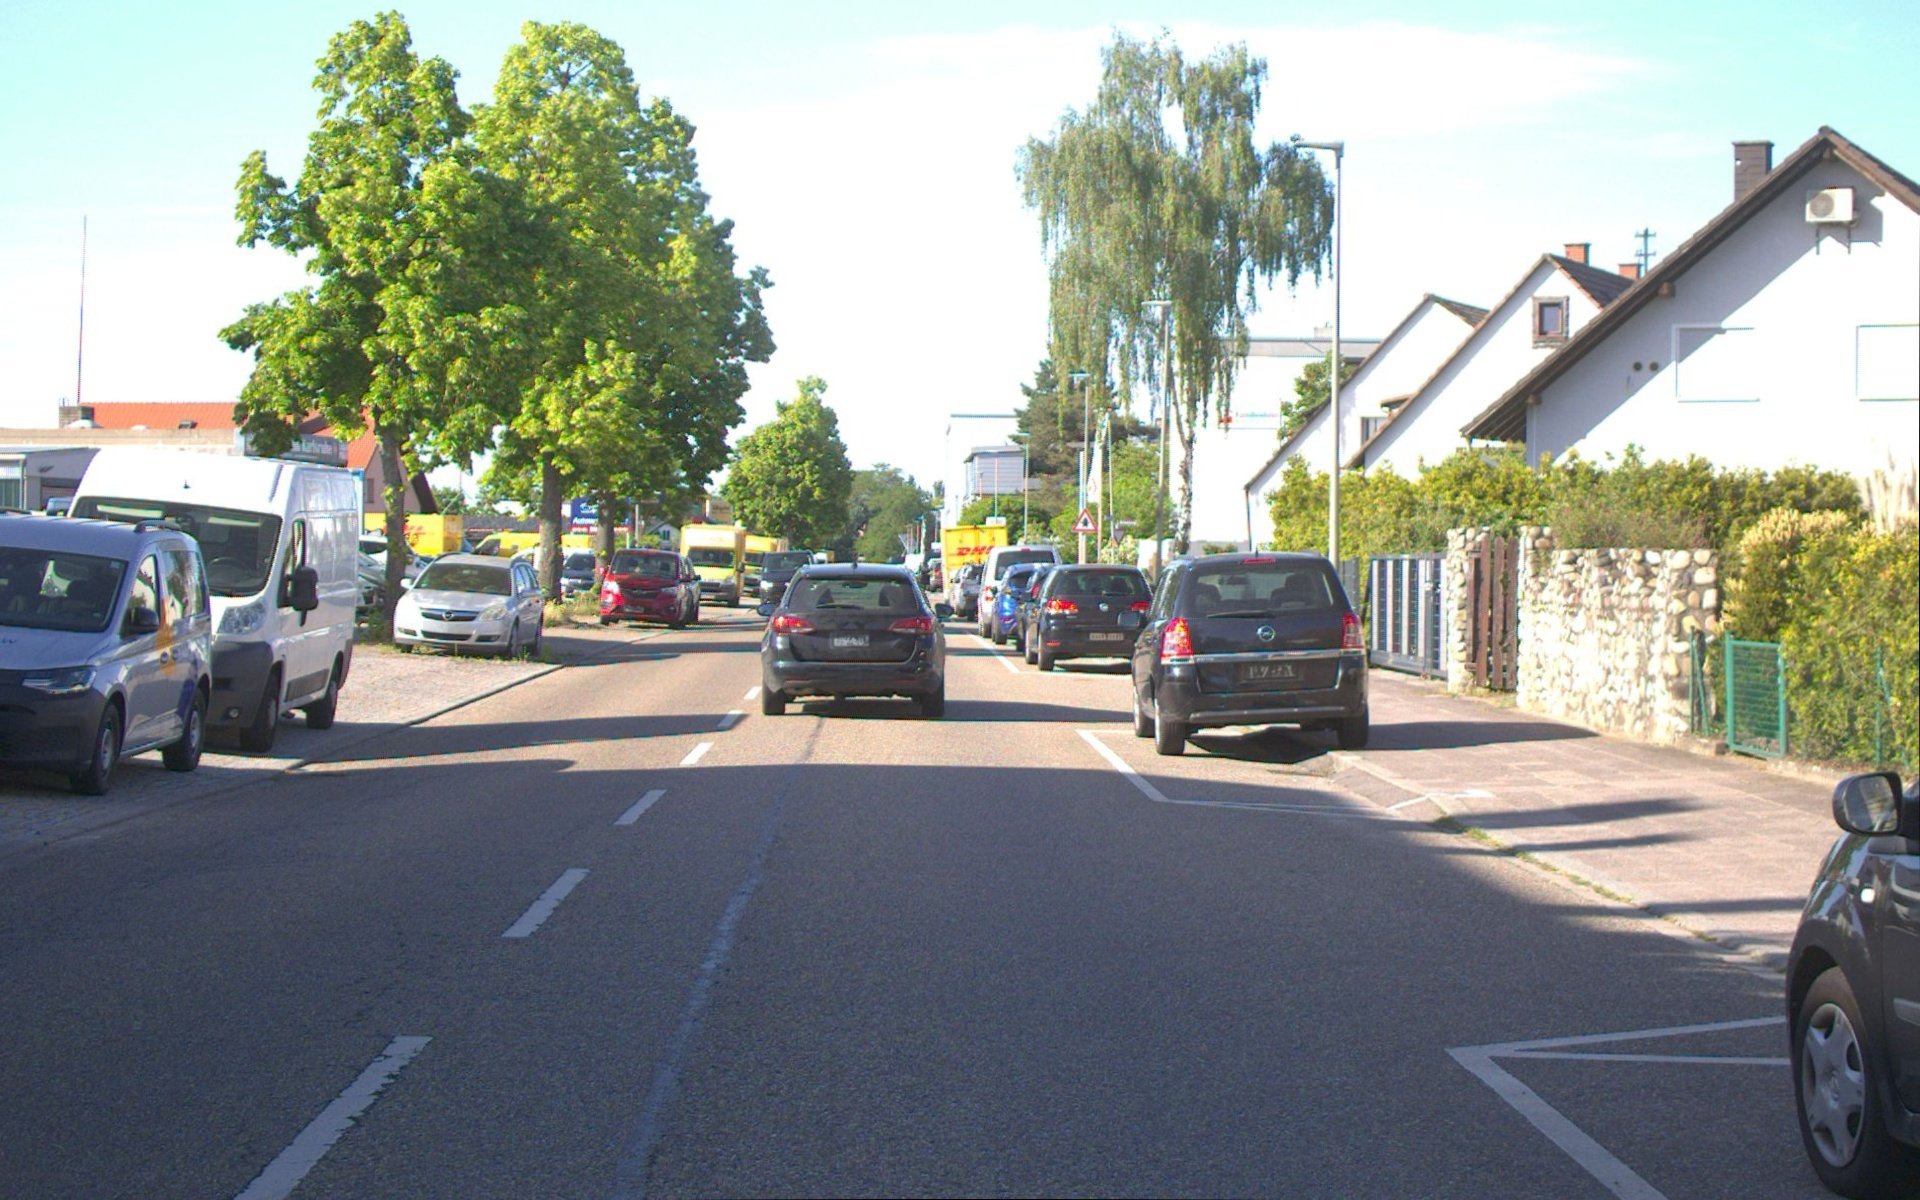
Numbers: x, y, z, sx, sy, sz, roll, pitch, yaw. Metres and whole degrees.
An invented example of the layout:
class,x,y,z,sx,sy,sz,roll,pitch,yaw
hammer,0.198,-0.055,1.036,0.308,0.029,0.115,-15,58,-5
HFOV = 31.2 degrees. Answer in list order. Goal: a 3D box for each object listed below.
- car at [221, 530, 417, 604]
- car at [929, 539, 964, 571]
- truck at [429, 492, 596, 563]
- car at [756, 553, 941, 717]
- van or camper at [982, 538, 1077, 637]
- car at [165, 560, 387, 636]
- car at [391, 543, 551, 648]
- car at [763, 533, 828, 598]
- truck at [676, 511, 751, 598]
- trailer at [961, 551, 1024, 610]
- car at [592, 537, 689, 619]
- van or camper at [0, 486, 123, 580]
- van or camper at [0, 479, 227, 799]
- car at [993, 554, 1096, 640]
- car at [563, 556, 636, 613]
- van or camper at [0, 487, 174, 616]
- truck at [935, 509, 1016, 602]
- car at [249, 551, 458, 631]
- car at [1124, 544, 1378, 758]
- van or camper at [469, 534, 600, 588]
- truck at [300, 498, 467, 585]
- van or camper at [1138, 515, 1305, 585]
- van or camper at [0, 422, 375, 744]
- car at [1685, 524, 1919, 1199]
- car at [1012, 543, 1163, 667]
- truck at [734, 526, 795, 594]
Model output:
class,x,y,z,sx,sy,sz,roll,pitch,yaw
car,-15.151,-0.779,81.342,4.249,1.723,1.765,0,1,5
car,-0.752,-2.542,195.075,1.919,1.819,4.080,0,1,-1
truck,-17.257,-2.796,132.691,5.924,2.559,2.223,2,1,11
car,-1.056,0.304,34.100,1.711,1.527,3.687,0,1,0
van or camper,1.363,-0.272,68.561,1.718,1.884,4.180,1,1,-1
car,-14.322,-0.052,72.096,4.249,1.536,1.766,0,2,4
car,-7.278,-0.095,51.543,1.687,1.430,4.209,3,1,1
car,-5.333,-1.143,111.728,1.894,2.024,4.818,-1,1,-1
truck,-8.896,-1.631,124.620,2.402,2.973,7.246,2,1,-2
trailer,0.839,-0.532,90.775,1.627,1.533,3.198,0,1,0
car,-7.250,-0.514,78.280,1.803,1.746,4.342,2,1,-1
van or camper,-27.334,-1.989,102.881,2.165,2.706,6.267,1,1,9
van or camper,-6.472,0.193,23.783,1.878,2.007,4.279,2,1,-1
car,1.516,-0.076,62.582,1.718,1.499,3.564,1,1,-1
car,-10.701,-0.453,102.256,1.861,1.584,4.276,0,-1,-2
van or camper,-17.416,-0.916,64.047,4.895,2.312,2.242,1,0,12
truck,0.475,-1.477,114.771,2.402,2.926,7.017,-2,0,-1
car,-13.343,-0.204,75.788,4.249,1.746,1.766,0,1,3
car,2.389,0.368,29.208,1.776,1.653,4.303,1,1,0
van or camper,-16.045,-1.478,129.860,4.544,2.007,2.250,0,1,6
truck,-21.919,-2.226,130.821,5.671,3.109,2.522,2,1,10
van or camper,9.679,-1.847,126.988,5.812,2.532,2.290,0,1,-27
van or camper,-6.676,-0.182,30.318,2.122,2.481,5.556,3,1,-2
car,2.938,0.648,7.369,1.656,1.595,3.817,1,1,-5
car,1.762,0.034,48.640,1.775,1.653,3.817,1,1,-3
truck,-8.859,-1.809,156.327,2.402,2.973,6.374,2,1,-1
